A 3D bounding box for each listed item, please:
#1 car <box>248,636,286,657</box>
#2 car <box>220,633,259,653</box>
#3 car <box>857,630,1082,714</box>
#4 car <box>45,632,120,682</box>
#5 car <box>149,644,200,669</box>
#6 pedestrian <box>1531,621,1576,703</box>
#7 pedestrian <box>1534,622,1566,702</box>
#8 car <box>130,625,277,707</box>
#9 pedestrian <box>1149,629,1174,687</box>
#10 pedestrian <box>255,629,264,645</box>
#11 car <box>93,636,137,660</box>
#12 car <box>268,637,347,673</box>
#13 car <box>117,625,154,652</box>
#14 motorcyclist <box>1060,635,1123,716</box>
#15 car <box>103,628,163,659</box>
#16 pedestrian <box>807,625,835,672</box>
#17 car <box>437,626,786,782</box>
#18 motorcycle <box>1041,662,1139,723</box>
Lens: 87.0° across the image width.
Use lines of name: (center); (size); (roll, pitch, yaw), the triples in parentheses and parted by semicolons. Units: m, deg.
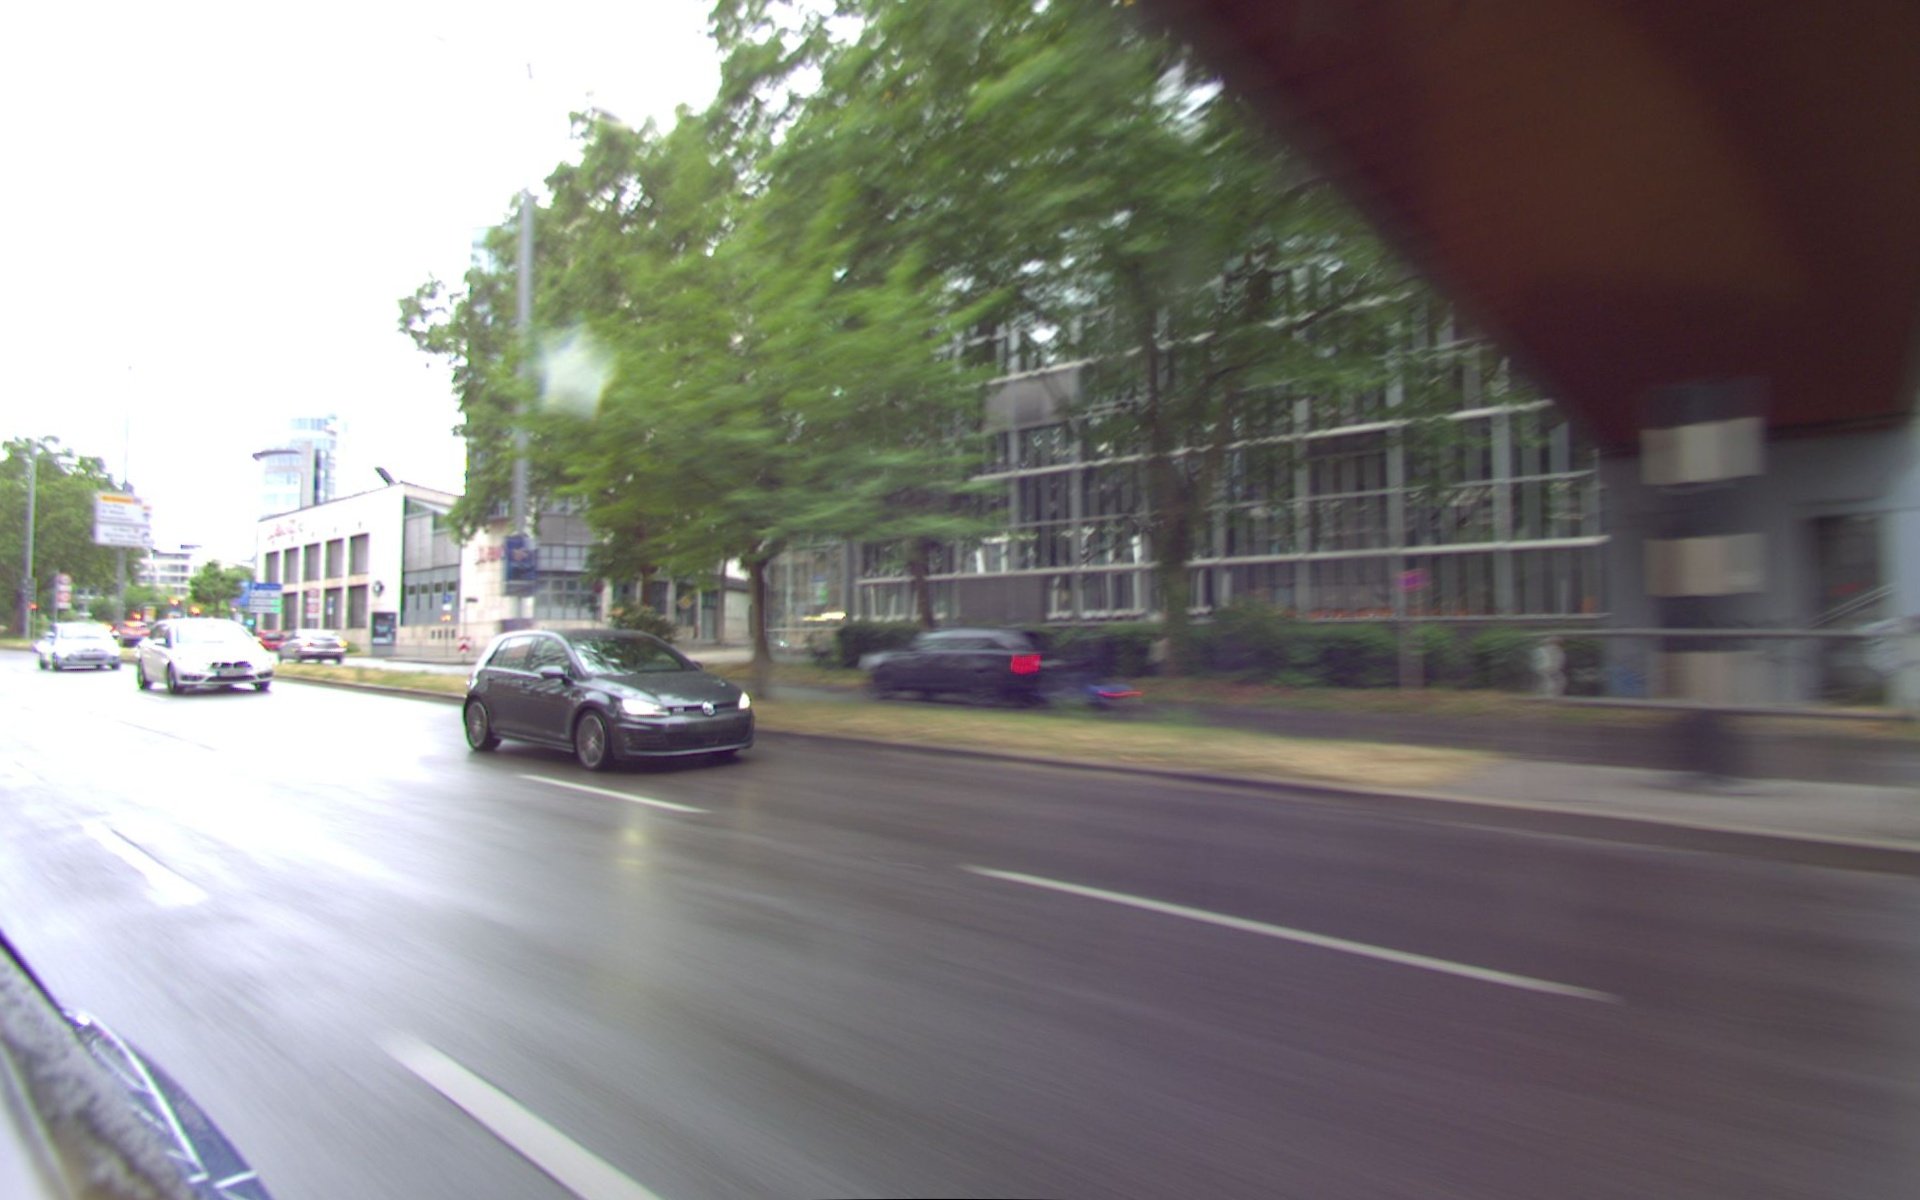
car: (-48.007, 3.211, 70.120); (1.574, 1.426, 3.403); (3, -3, -44)
car: (-56.473, 3.340, 79.271); (1.727, 1.426, 4.708); (3, -2, -44)
car: (0.135, 1.665, 23.942); (5.179, 1.782, 1.980); (-1, -6, 39)
car: (-28.698, 1.808, 33.068); (1.589, 1.452, 3.496); (-1, 0, -45)
car: (-50.126, 3.581, 64.535); (4.757, 1.449, 1.673); (-1, -2, 41)
pedestrian: (13.557, 1.399, 23.114); (0.759, 1.821, 0.590); (-2, -3, 41)
pedestrian: (13.828, 1.444, 23.722); (0.511, 1.821, 0.599); (-2, -3, 41)
car: (-16.861, 1.394, 22.490); (3.997, 1.608, 1.758); (-1, -2, 41)
pedestrian: (5.983, 1.704, 30.001); (0.511, 1.699, 0.553); (-2, -3, 41)
pedestrian: (-84.241, 4.462, 121.692); (1.125, 1.939, 0.582); (-2, -2, 41)
car: (-52.938, 3.000, 63.395); (4.117, 1.370, 1.579); (-1, -2, 43)
car: (-28.787, 2.419, 44.622); (4.076, 1.475, 1.645); (-1, -5, 39)
car: (-65.911, 3.066, 80.838); (1.809, 2.017, 5.108); (3, -3, -44)
motorcyclist: (2.437, 1.376, 18.727); (0.969, 1.429, 0.631); (-1, -2, 41)
car: (-47.567, 2.489, 58.185); (4.678, 1.693, 1.854); (-1, -2, 41)
pedestrian: (-5.473, 1.920, 39.829); (0.802, 1.821, 0.727); (-2, -3, 41)
car: (-4.033, 1.033, 11.440); (4.117, 1.463, 1.767); (-1, -2, 38)
motorcycle: (2.391, 1.684, 18.747); (1.804, 1.029, 0.578); (-2, -3, 41)
